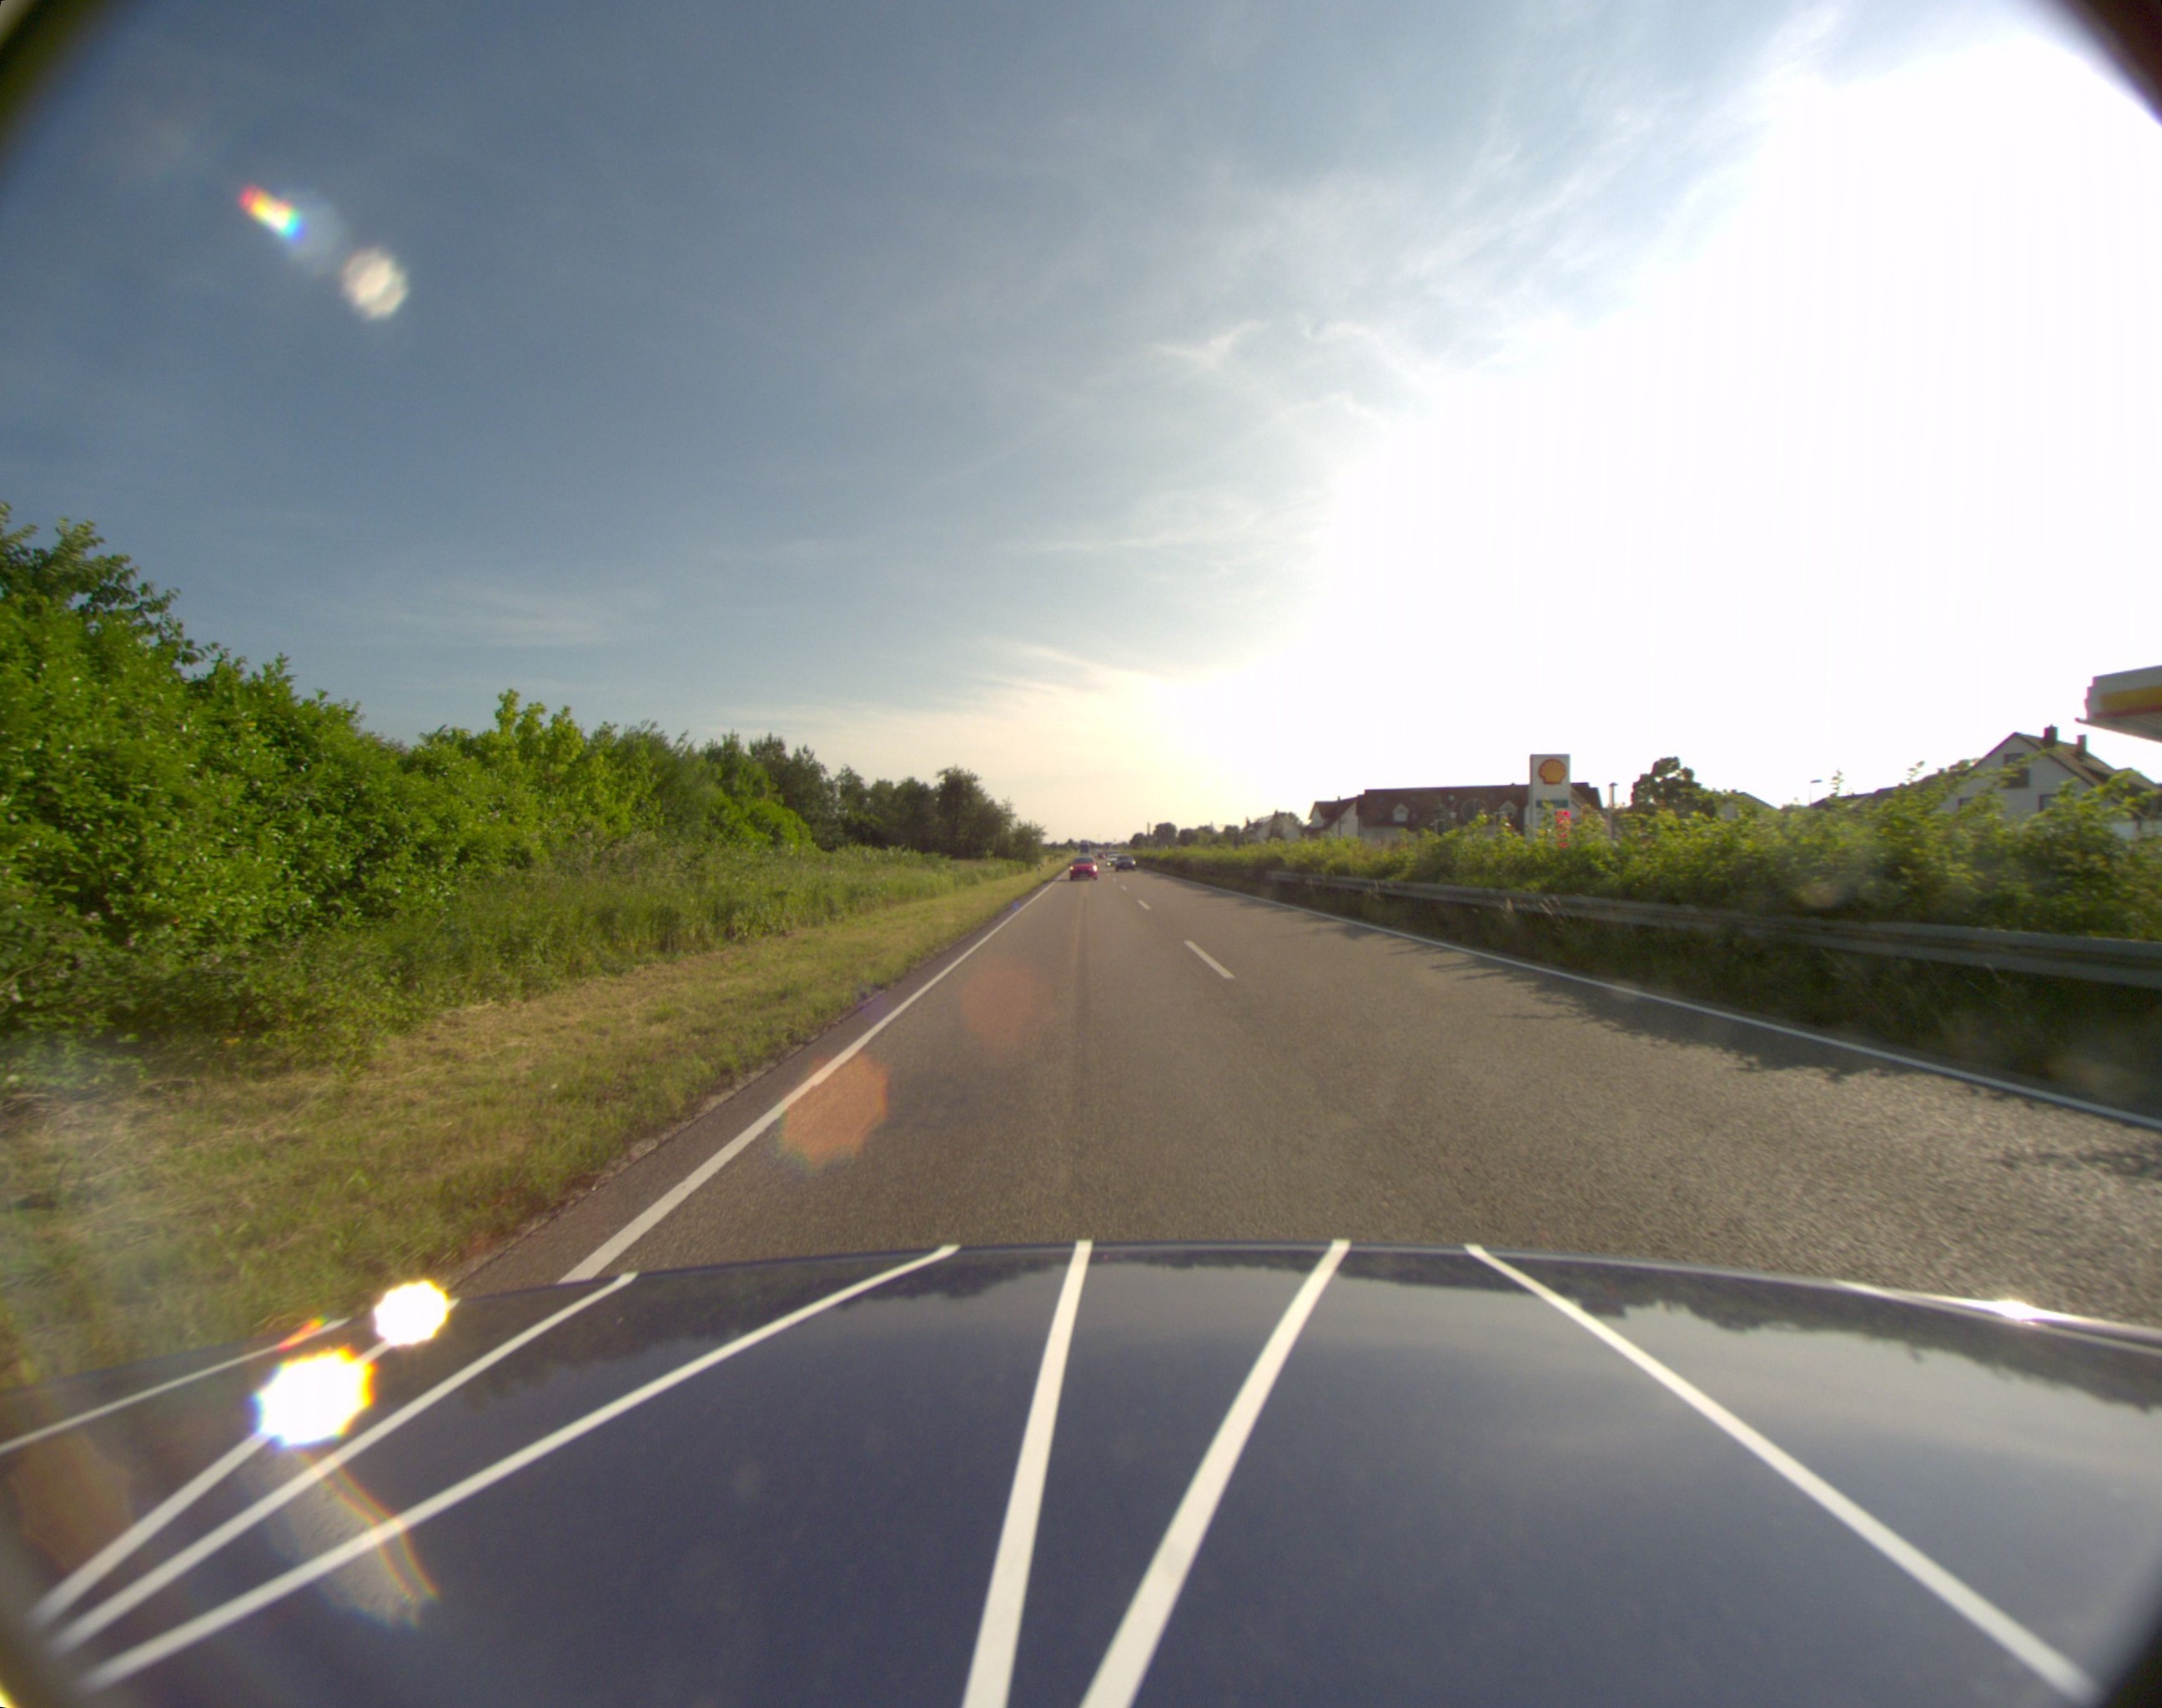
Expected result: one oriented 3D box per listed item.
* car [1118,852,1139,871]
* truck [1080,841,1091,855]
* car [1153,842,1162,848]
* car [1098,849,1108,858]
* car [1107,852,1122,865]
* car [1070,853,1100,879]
[{"bbox_3d":[4.139,0.622,67.085,1.636,1.500,4.000,-2,1,1],"label":"car"},{"bbox_3d":[1.310,-1.760,213.798,2.850,3.897,10.103,-2,1,1],"label":"truck"},{"bbox_3d":[21.730,-2.496,215.376,1.998,1.740,3.999,-2,1,0],"label":"car"},{"bbox_3d":[4.701,-0.150,164.189,1.998,2.002,4.000,-2,0,1],"label":"car"},{"bbox_3d":[4.049,0.545,91.306,1.636,1.442,4.000,-2,1,1],"label":"car"},{"bbox_3d":[0.268,0.729,48.472,1.735,1.467,4.000,-2,1,1],"label":"car"}]
